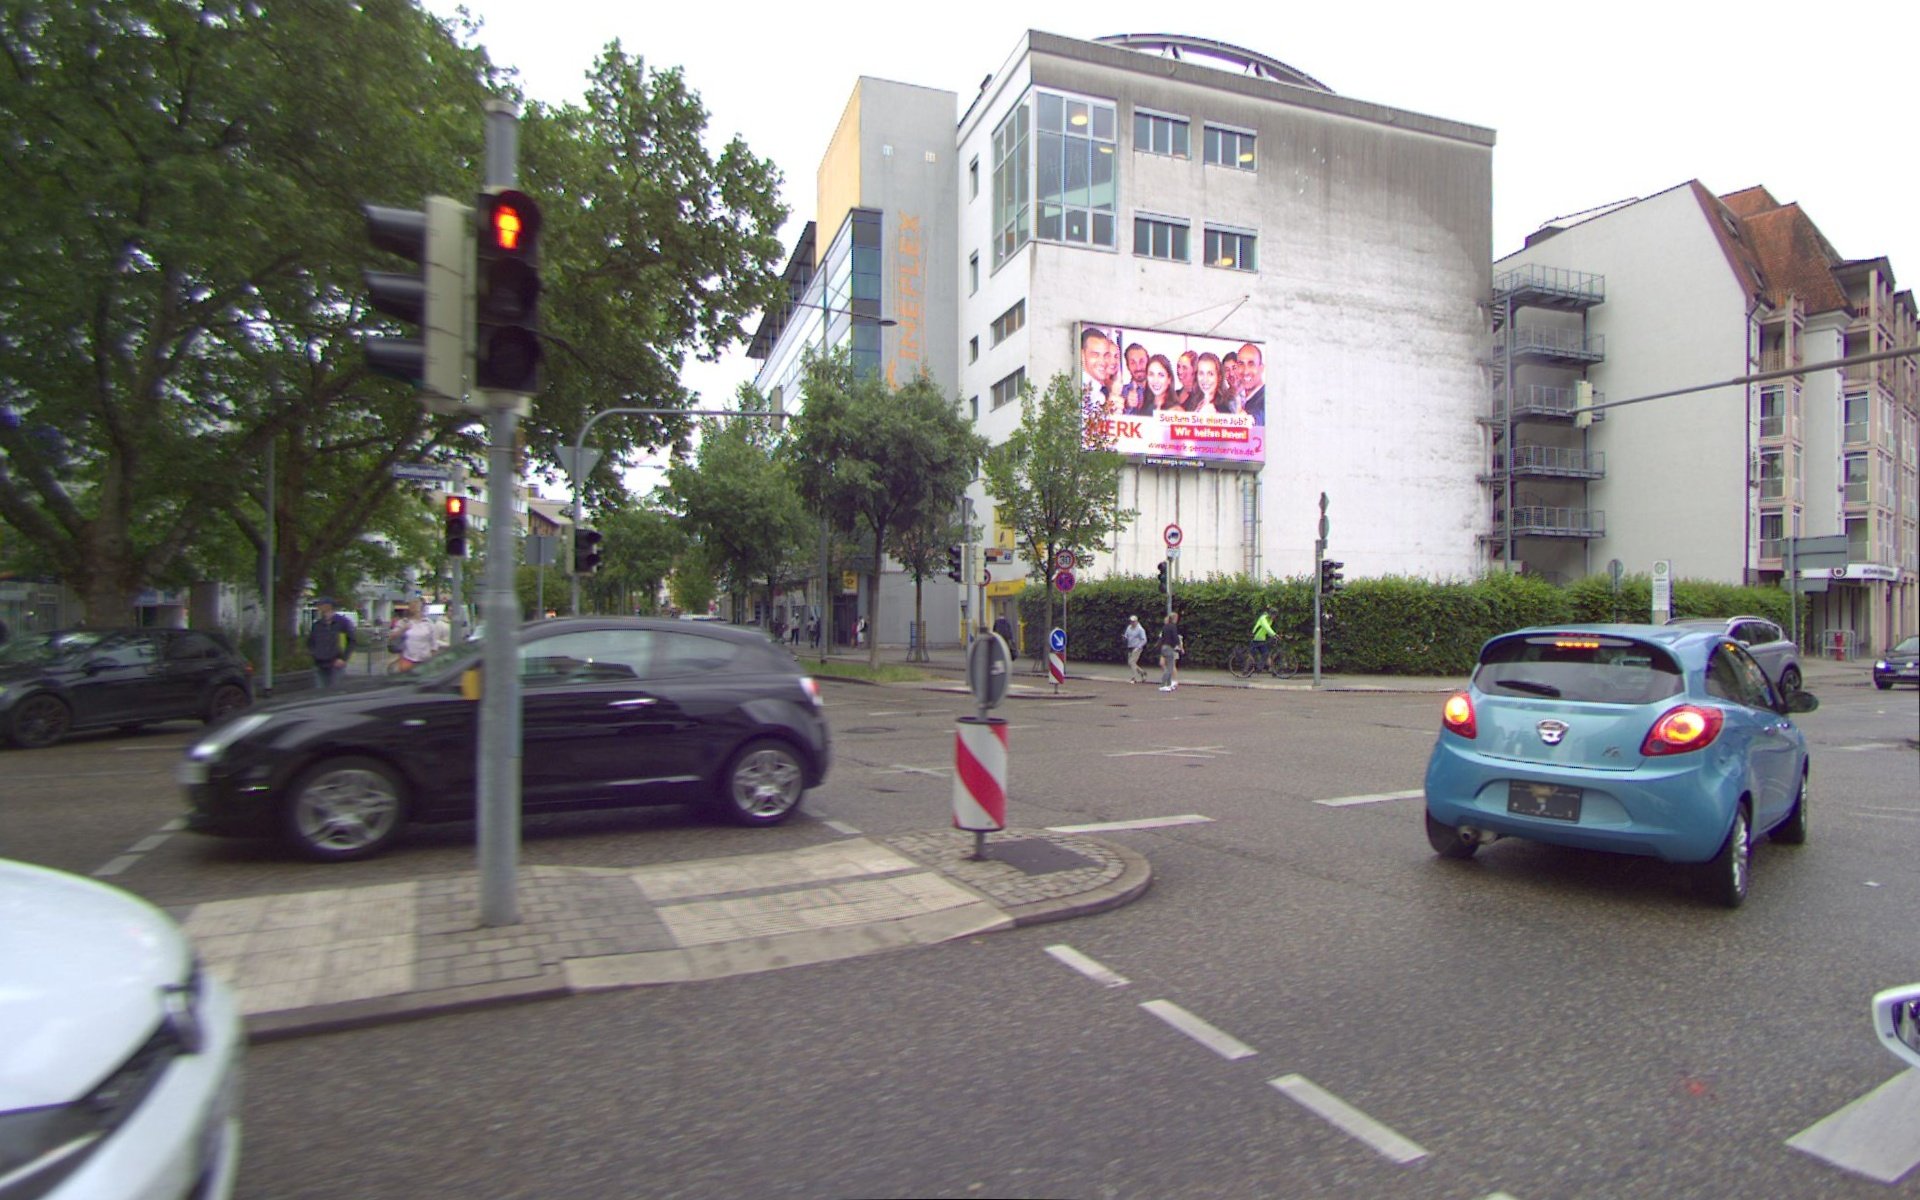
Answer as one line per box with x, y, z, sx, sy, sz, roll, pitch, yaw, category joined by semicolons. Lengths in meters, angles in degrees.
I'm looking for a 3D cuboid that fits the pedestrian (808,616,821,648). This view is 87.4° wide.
-7.372;1.624;50.799;0.521;1.621;0.556;1;-1;-21;pedestrian

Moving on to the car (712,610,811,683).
-5.128;1.140;25.652;1.615;1.718;3.578;0;-1;-26;car

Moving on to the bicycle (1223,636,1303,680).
8.139;1.542;27.057;2.016;1.125;0.653;0;-1;13;bicycle

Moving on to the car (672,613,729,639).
-18.657;1.846;72.323;1.908;1.684;3.872;4;0;23;car

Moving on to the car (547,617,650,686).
-9.404;1.258;25.976;1.683;1.607;3.964;0;-1;-33;car

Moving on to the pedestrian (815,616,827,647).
-7.318;1.672;52.887;0.521;1.621;0.556;1;-1;-21;pedestrian

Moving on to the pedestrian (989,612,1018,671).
1.365;1.297;31.703;0.778;1.804;0.653;3;-2;7;pedestrian

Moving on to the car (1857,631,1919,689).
25.407;1.569;26.219;4.048;1.439;1.750;2;-3;-30;car

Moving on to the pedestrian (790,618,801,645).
-9.622;1.839;58.760;0.521;1.621;0.694;1;-1;-21;pedestrian

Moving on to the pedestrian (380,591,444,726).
-7.765;0.825;14.235;0.669;1.861;0.444;4;-2;-32;pedestrian

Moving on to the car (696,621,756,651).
-14.945;2.288;64.467;1.907;1.684;3.874;4;0;19;car

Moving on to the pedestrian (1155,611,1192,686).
5.273;1.200;24.811;0.585;1.788;0.524;2;2;-29;pedestrian

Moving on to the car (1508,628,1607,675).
20.876;1.774;35.092;3.561;1.530;1.586;1;-2;-33;car

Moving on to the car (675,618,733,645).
-17.395;2.122;68.385;1.907;1.684;3.874;4;0;19;car

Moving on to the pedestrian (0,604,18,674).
-20.079;0.810;20.841;0.515;1.424;0.549;0;-1;-2;pedestrian

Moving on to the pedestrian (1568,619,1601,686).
17.252;1.446;27.750;0.623;1.787;0.524;4;-2;-31;pedestrian

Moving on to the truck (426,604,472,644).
-29.673;1.353;58.494;1.972;2.183;6.667;1;-1;-23;truck

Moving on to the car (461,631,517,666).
-21.226;2.157;45.365;1.835;1.483;3.983;1;-1;-19;car

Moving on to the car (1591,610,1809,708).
14.570;1.128;19.744;4.257;1.759;1.820;2;-1;-28;car

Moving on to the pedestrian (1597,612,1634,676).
18.685;1.258;28.634;0.586;1.787;0.638;4;-2;-30;pedestrian

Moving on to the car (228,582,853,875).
-2.723;0.730;6.995;3.615;1.576;1.616;1;-1;-29;car

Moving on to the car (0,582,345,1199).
-3.103;0.626;1.128;3.951;1.428;1.758;3;0;-29;car

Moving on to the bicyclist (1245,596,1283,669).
8.182;0.873;27.083;0.934;1.915;0.794;0;-1;13;bicyclist

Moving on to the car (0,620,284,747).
-11.412;0.999;13.073;1.894;1.414;4.430;1;-3;6;car

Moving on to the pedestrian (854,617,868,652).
-4.732;1.648;48.134;0.521;1.621;0.556;1;-1;-21;pedestrian

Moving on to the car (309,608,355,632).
-52.385;1.650;83.903;1.883;1.773;3.802;4;0;-11;car

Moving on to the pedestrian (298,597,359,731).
-8.605;0.857;13.710;0.668;1.787;0.409;0;0;-29;pedestrian

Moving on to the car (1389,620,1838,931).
4.534;0.906;6.755;3.663;1.494;1.680;2;-1;-42;car

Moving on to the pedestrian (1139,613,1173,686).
4.917;1.224;25.264;0.585;1.788;0.524;1;2;-29;pedestrian

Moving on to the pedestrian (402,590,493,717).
-8.198;0.851;16.097;0.843;1.931;0.828;2;-2;13;pedestrian

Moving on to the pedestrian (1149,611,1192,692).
4.762;1.165;22.717;0.586;1.787;0.643;4;-2;-31;pedestrian

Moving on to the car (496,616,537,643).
-26.733;1.748;60.626;1.928;1.576;3.983;1;-1;-19;car
